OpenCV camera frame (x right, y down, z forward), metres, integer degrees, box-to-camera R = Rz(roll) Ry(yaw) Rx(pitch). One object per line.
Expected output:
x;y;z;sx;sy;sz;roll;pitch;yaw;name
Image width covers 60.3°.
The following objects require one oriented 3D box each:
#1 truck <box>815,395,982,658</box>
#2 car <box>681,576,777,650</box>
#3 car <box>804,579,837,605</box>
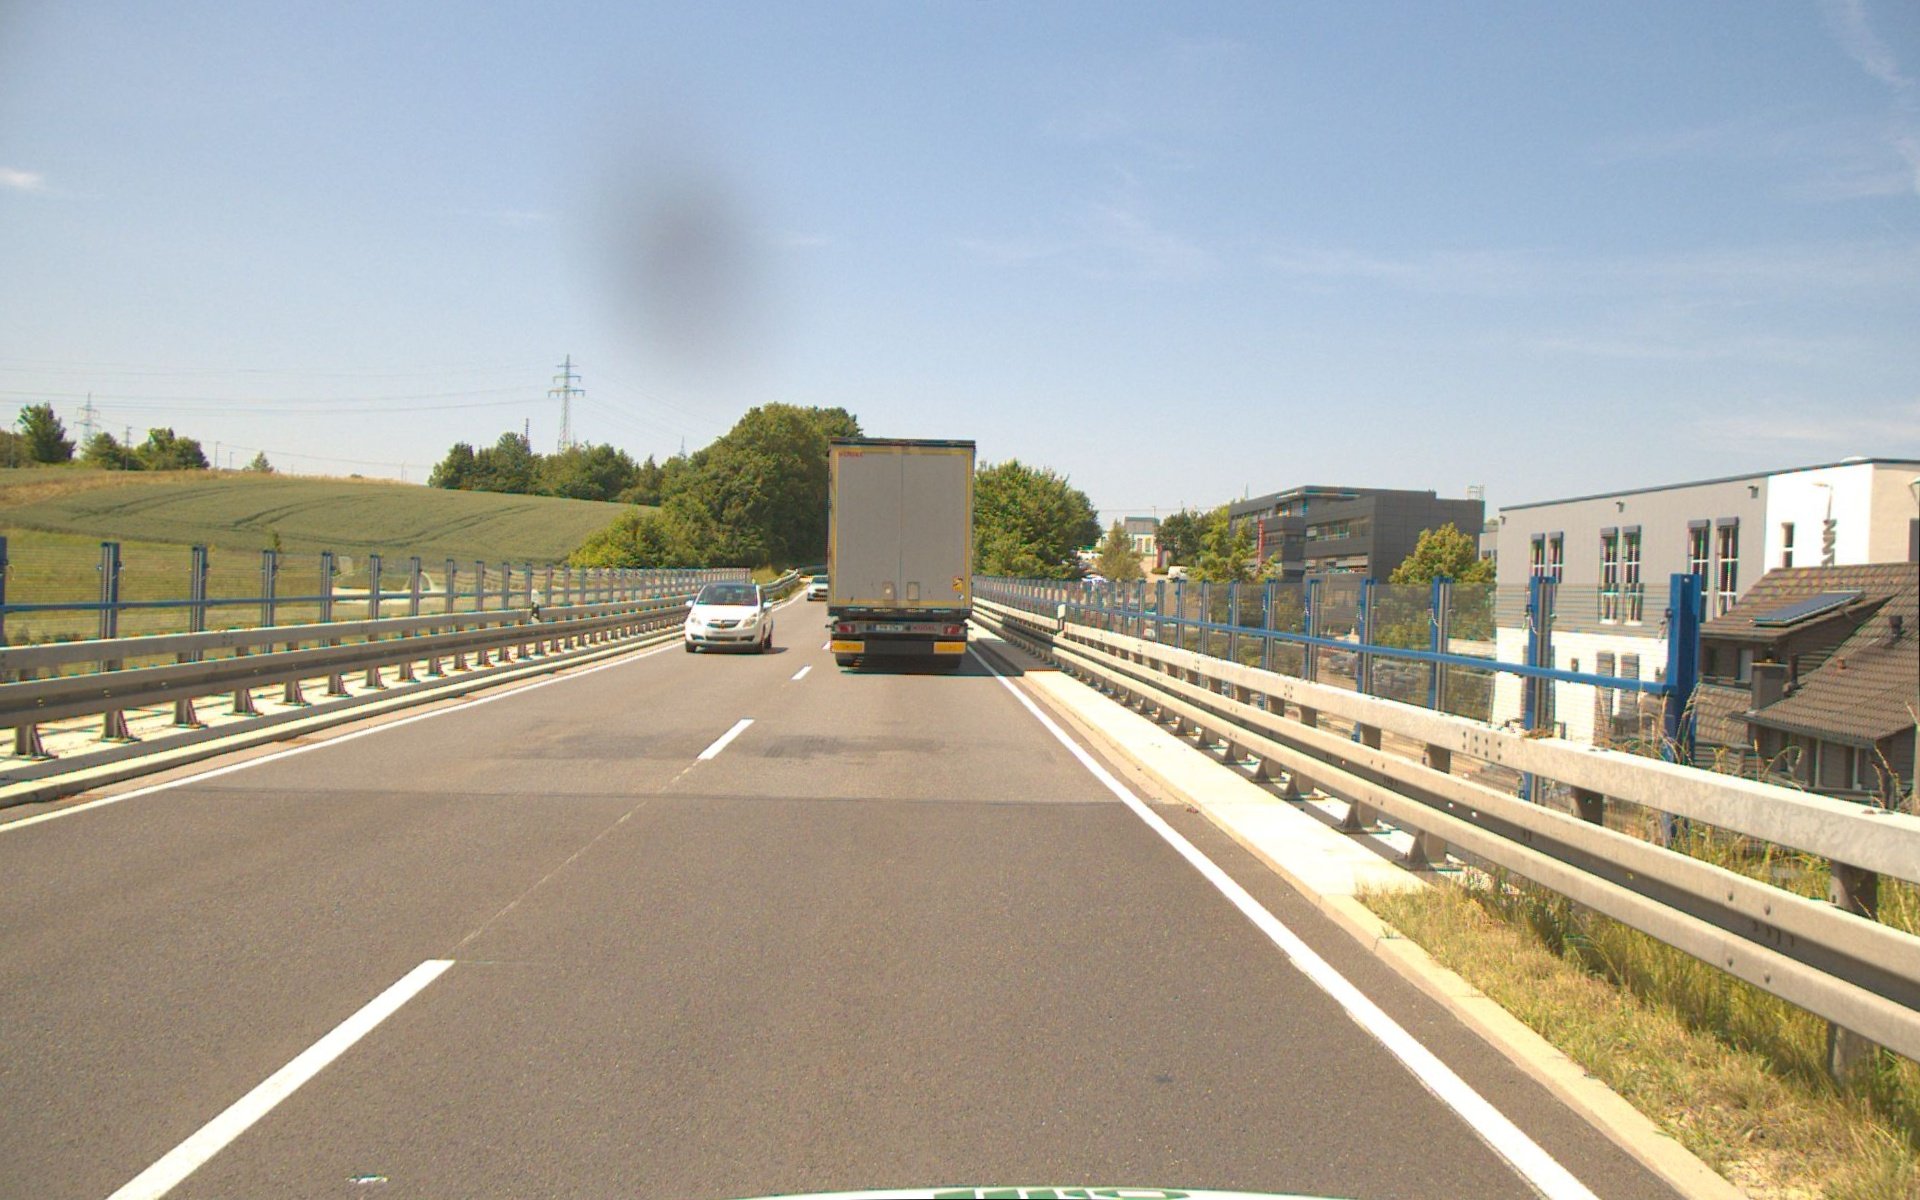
-1.277;-1.194;32.850;2.809;4.436;9.782;0;-1;-3;truck
-5.046;0.267;36.558;1.673;1.531;4.117;0;0;-2;car
-7.966;-0.459;94.665;1.746;1.461;4.832;0;1;-3;car
